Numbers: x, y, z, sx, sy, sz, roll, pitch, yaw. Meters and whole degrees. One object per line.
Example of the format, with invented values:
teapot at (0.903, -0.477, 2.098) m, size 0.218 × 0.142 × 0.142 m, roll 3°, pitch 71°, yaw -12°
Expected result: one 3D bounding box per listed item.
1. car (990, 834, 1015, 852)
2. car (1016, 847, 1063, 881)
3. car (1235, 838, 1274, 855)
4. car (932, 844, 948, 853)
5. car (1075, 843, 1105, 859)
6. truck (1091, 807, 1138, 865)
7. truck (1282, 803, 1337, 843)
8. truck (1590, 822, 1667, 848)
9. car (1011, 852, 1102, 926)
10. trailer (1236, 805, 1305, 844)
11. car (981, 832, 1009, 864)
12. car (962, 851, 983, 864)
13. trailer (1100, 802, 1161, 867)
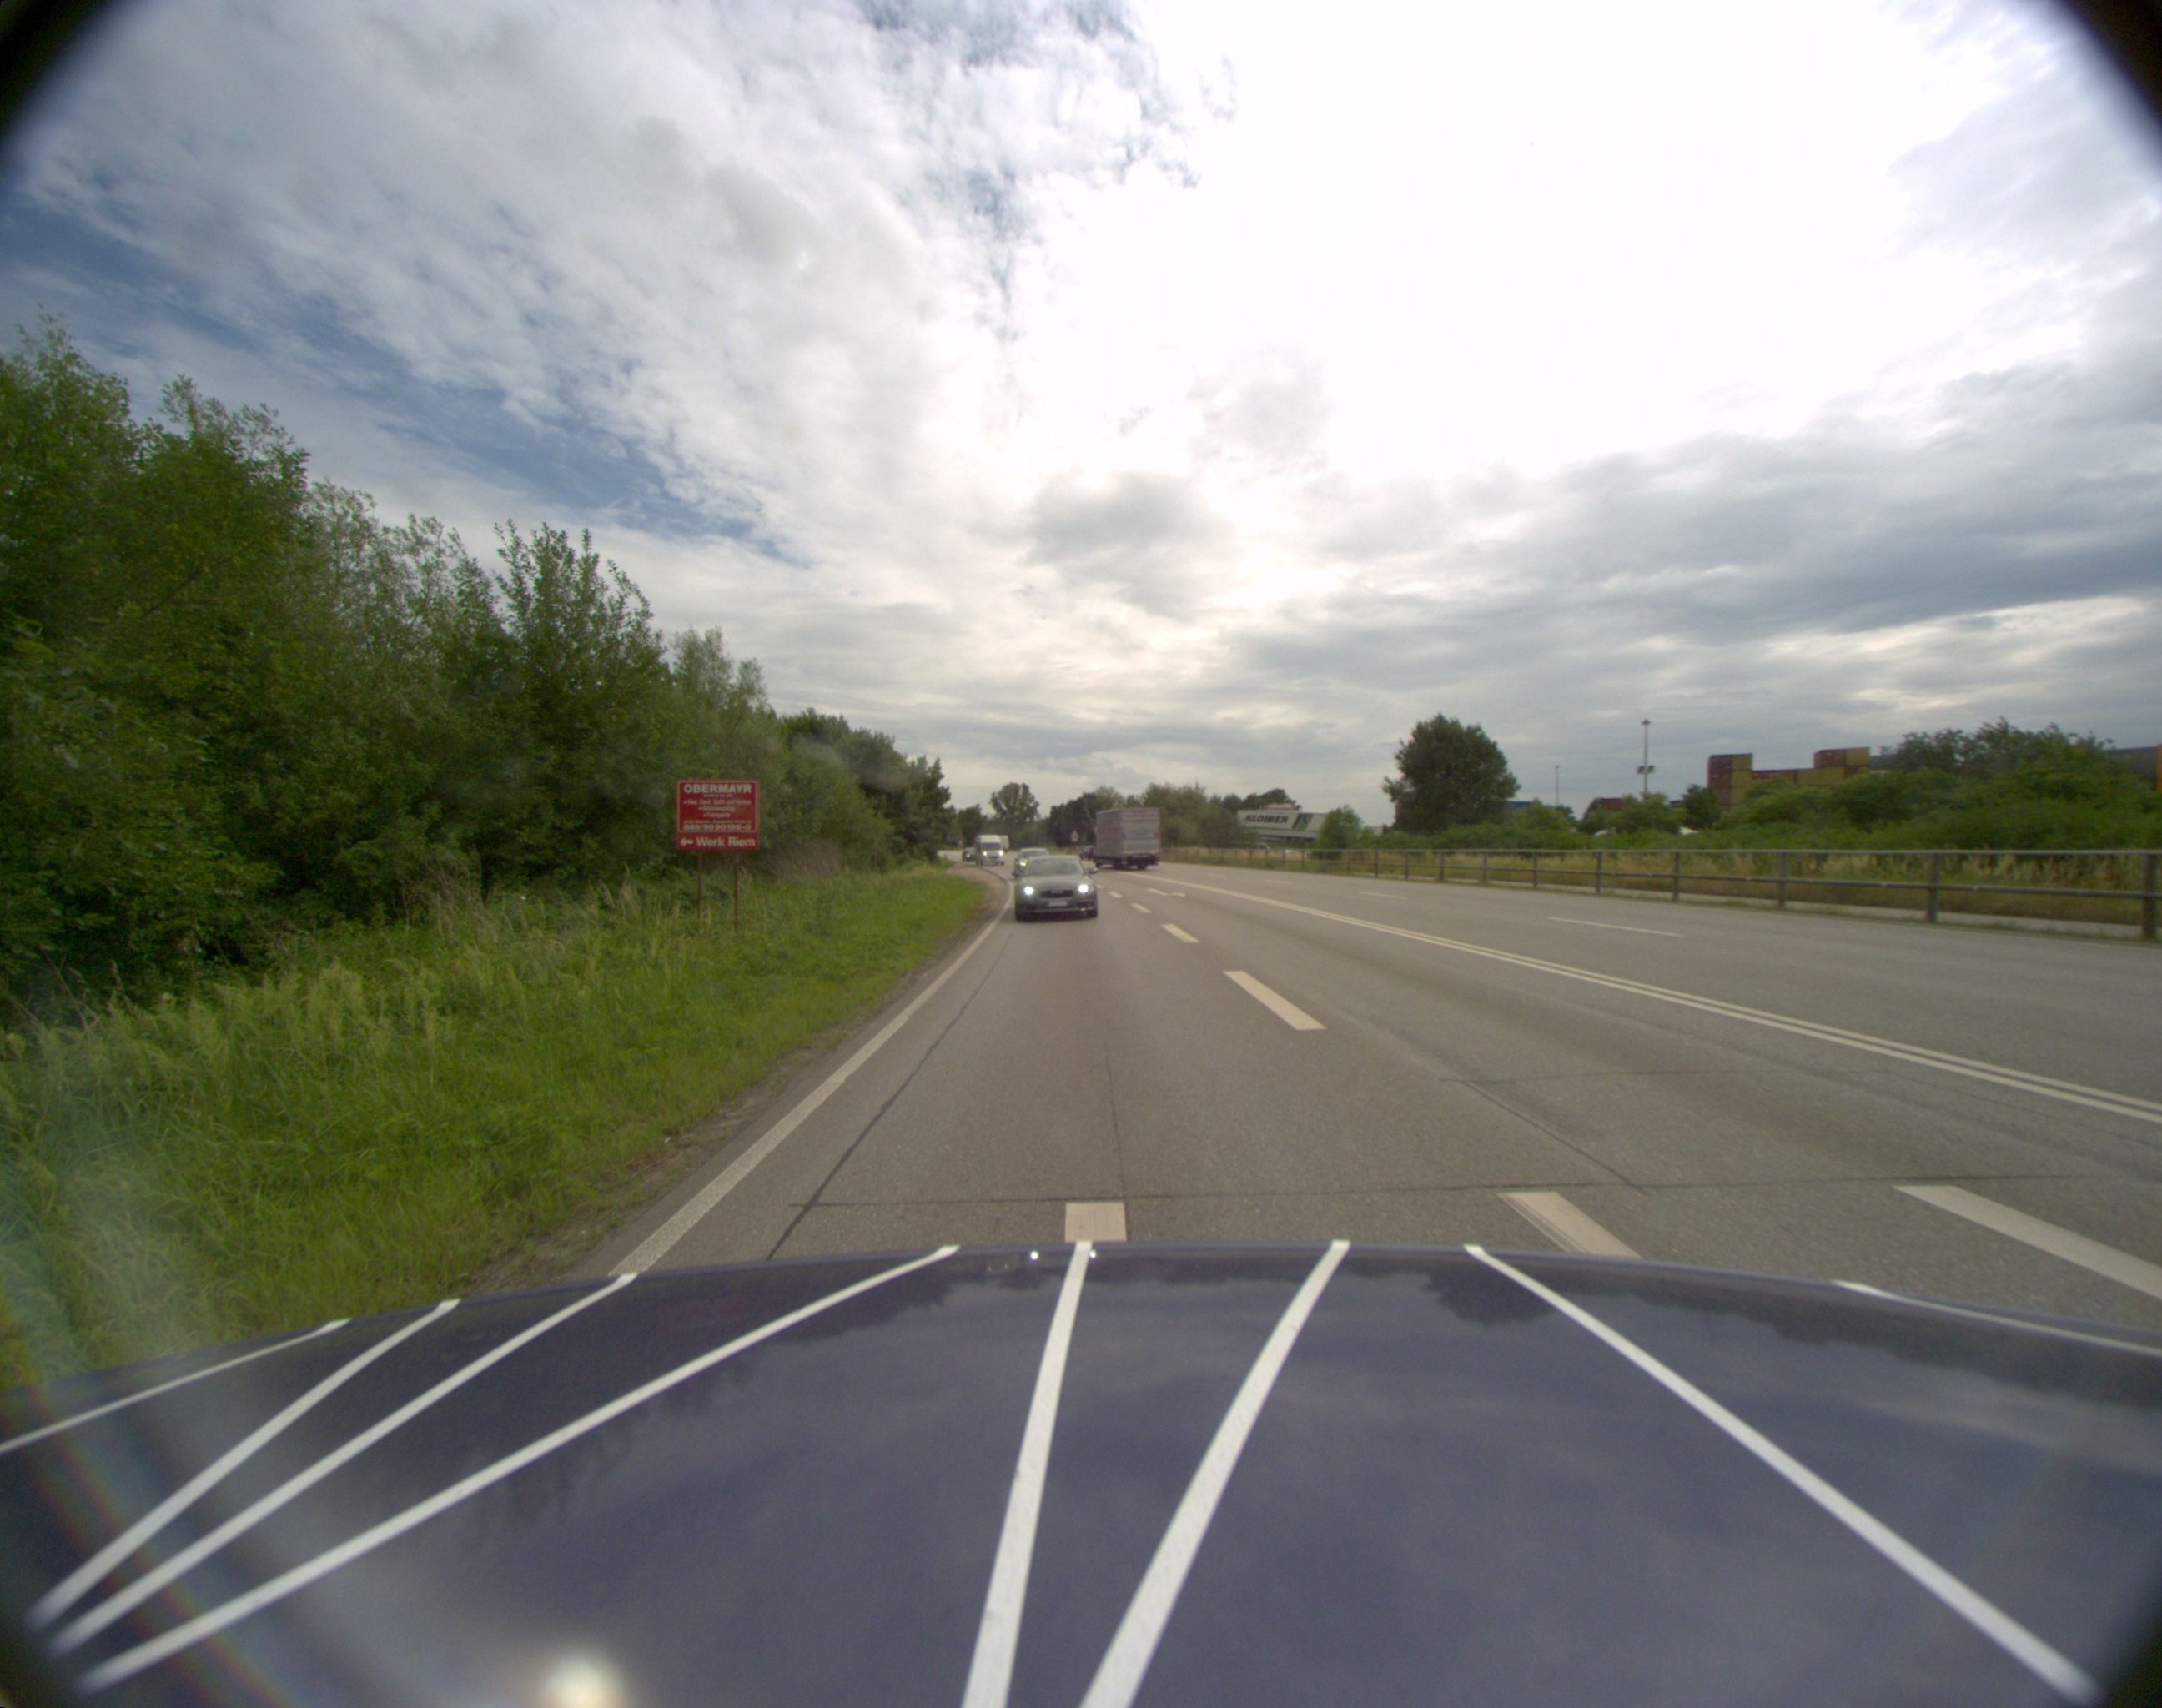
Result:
car at (-12.570, -1.707, 121.202) m, size 2.443 × 2.659 × 6.876 m, roll -2°, pitch 1°, yaw -19°
car at (-2.239, 0.481, 39.827) m, size 2.022 × 1.604 × 4.276 m, roll -2°, pitch 2°, yaw -8°
car at (20.763, -0.949, 91.028) m, size 4.538 × 1.865 × 2.001 m, roll -1°, pitch 2°, yaw 12°
car at (-20.736, -0.791, 111.688) m, size 1.733 × 1.357 × 3.993 m, roll -1°, pitch 1°, yaw -20°
car at (0.913, -0.317, 76.745) m, size 1.953 × 1.433 × 3.994 m, roll -2°, pitch 1°, yaw -16°
truck at (2.399, -1.319, 55.694) m, size 2.548 × 4.073 × 3.996 m, roll -1°, pitch 1°, yaw -11°
truck at (29.427, -3.912, 97.893) m, size 2.809 × 4.969 × 6.172 m, roll -4°, pitch 3°, yaw -39°
truck at (59.705, -2.035, 82.987) m, size 6.636 × 2.667 × 2.658 m, roll 0°, pitch 2°, yaw 40°
car at (-0.629, 0.760, 18.502) m, size 1.958 × 1.527 × 3.998 m, roll -1°, pitch 1°, yaw -3°
trailer at (25.514, -3.927, 102.749) m, size 2.812 × 4.969 × 8.959 m, roll -4°, pitch 3°, yaw -39°
car at (-7.857, -0.547, 68.819) m, size 2.220 × 2.655 × 5.235 m, roll -4°, pitch 1°, yaw -8°
car at (-11.853, 0.391, 82.832) m, size 1.733 × 1.357 × 3.994 m, roll 0°, pitch 1°, yaw -15°
trailer at (3.197, -1.251, 51.266) m, size 2.536 × 4.077 × 6.728 m, roll -1°, pitch 1°, yaw -10°
